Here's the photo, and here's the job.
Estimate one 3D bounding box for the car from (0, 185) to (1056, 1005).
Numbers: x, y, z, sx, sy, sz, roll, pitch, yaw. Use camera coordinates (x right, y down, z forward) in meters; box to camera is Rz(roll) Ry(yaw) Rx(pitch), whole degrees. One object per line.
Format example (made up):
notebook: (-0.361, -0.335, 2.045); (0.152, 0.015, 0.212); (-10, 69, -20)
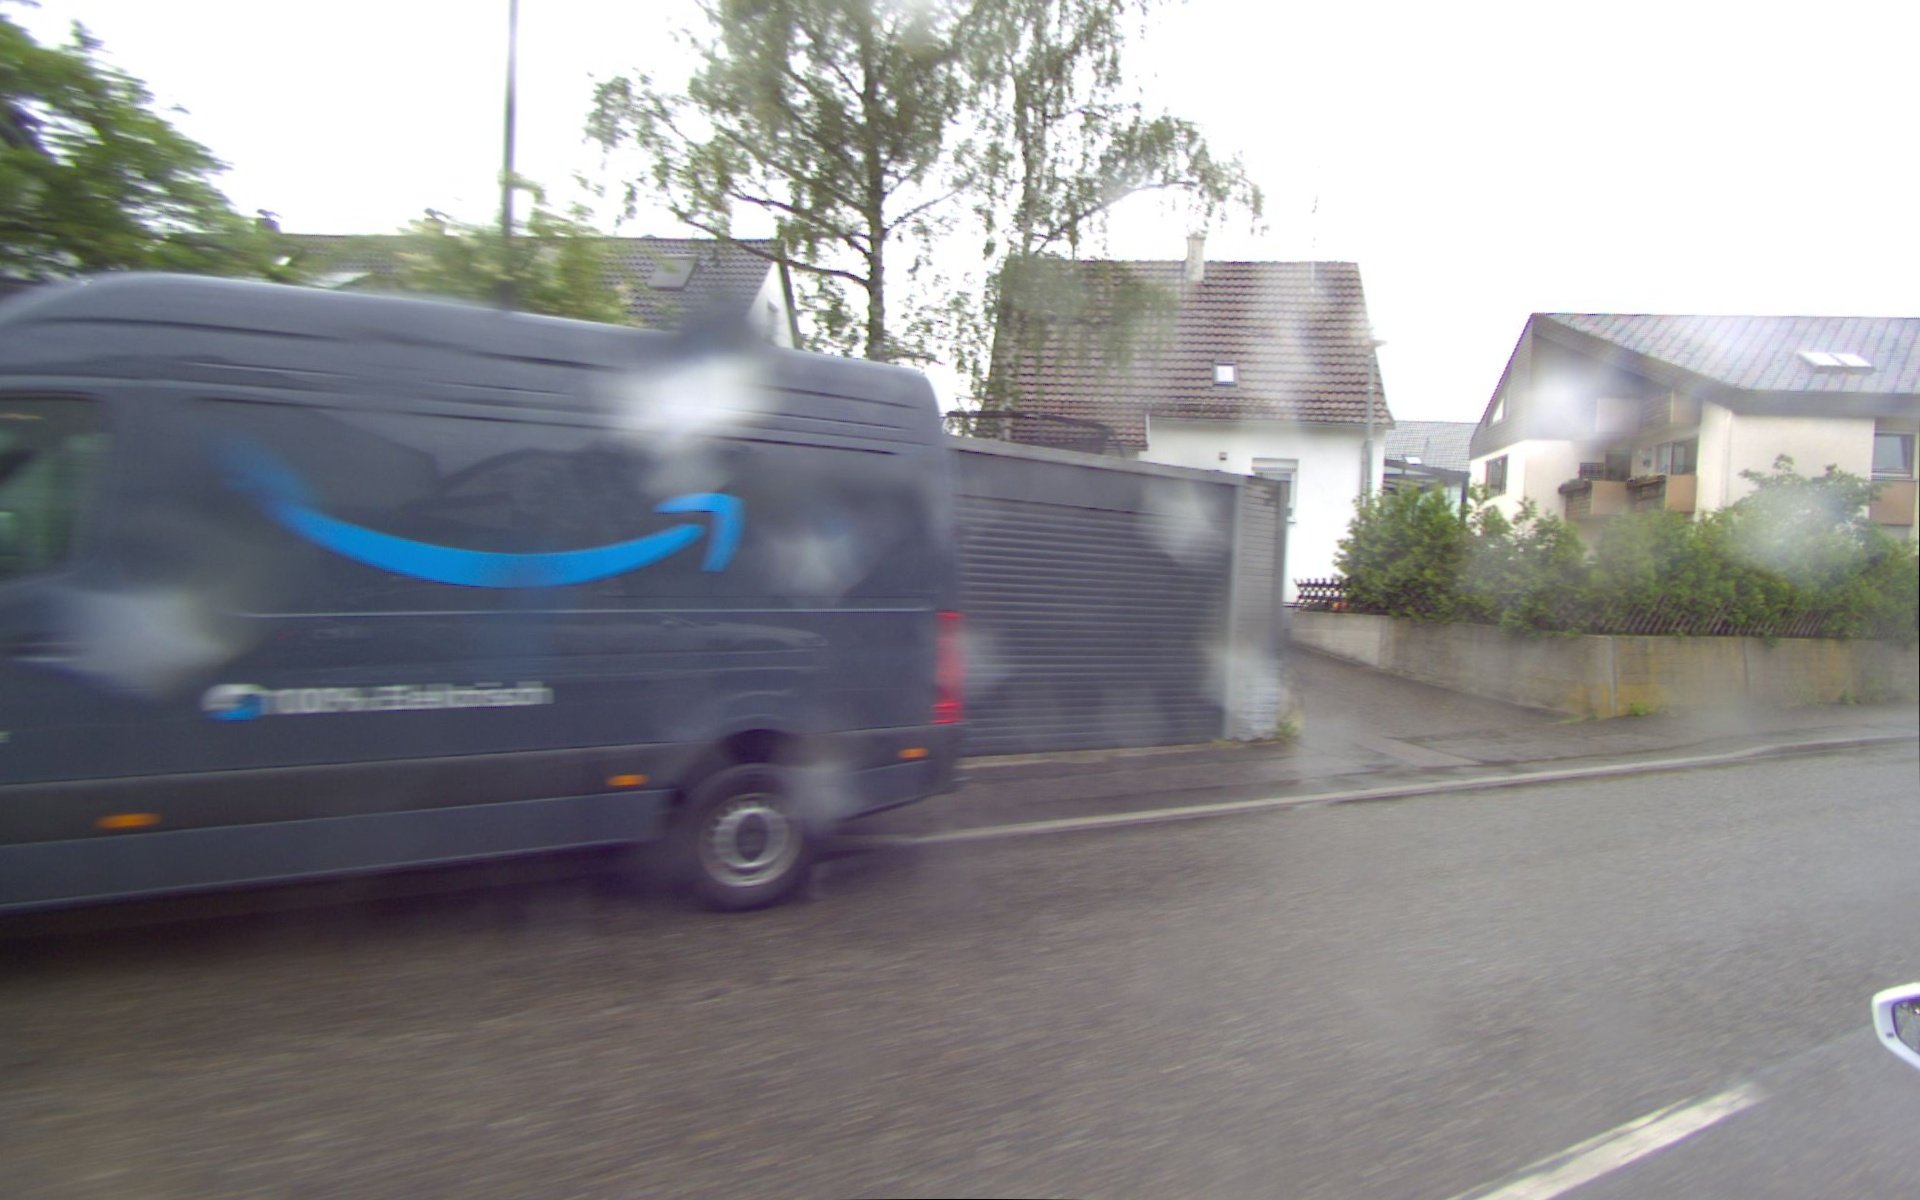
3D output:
car: (-2.604, -0.023, 4.762); (5.844, 2.685, 2.085); (1, 2, -28)
